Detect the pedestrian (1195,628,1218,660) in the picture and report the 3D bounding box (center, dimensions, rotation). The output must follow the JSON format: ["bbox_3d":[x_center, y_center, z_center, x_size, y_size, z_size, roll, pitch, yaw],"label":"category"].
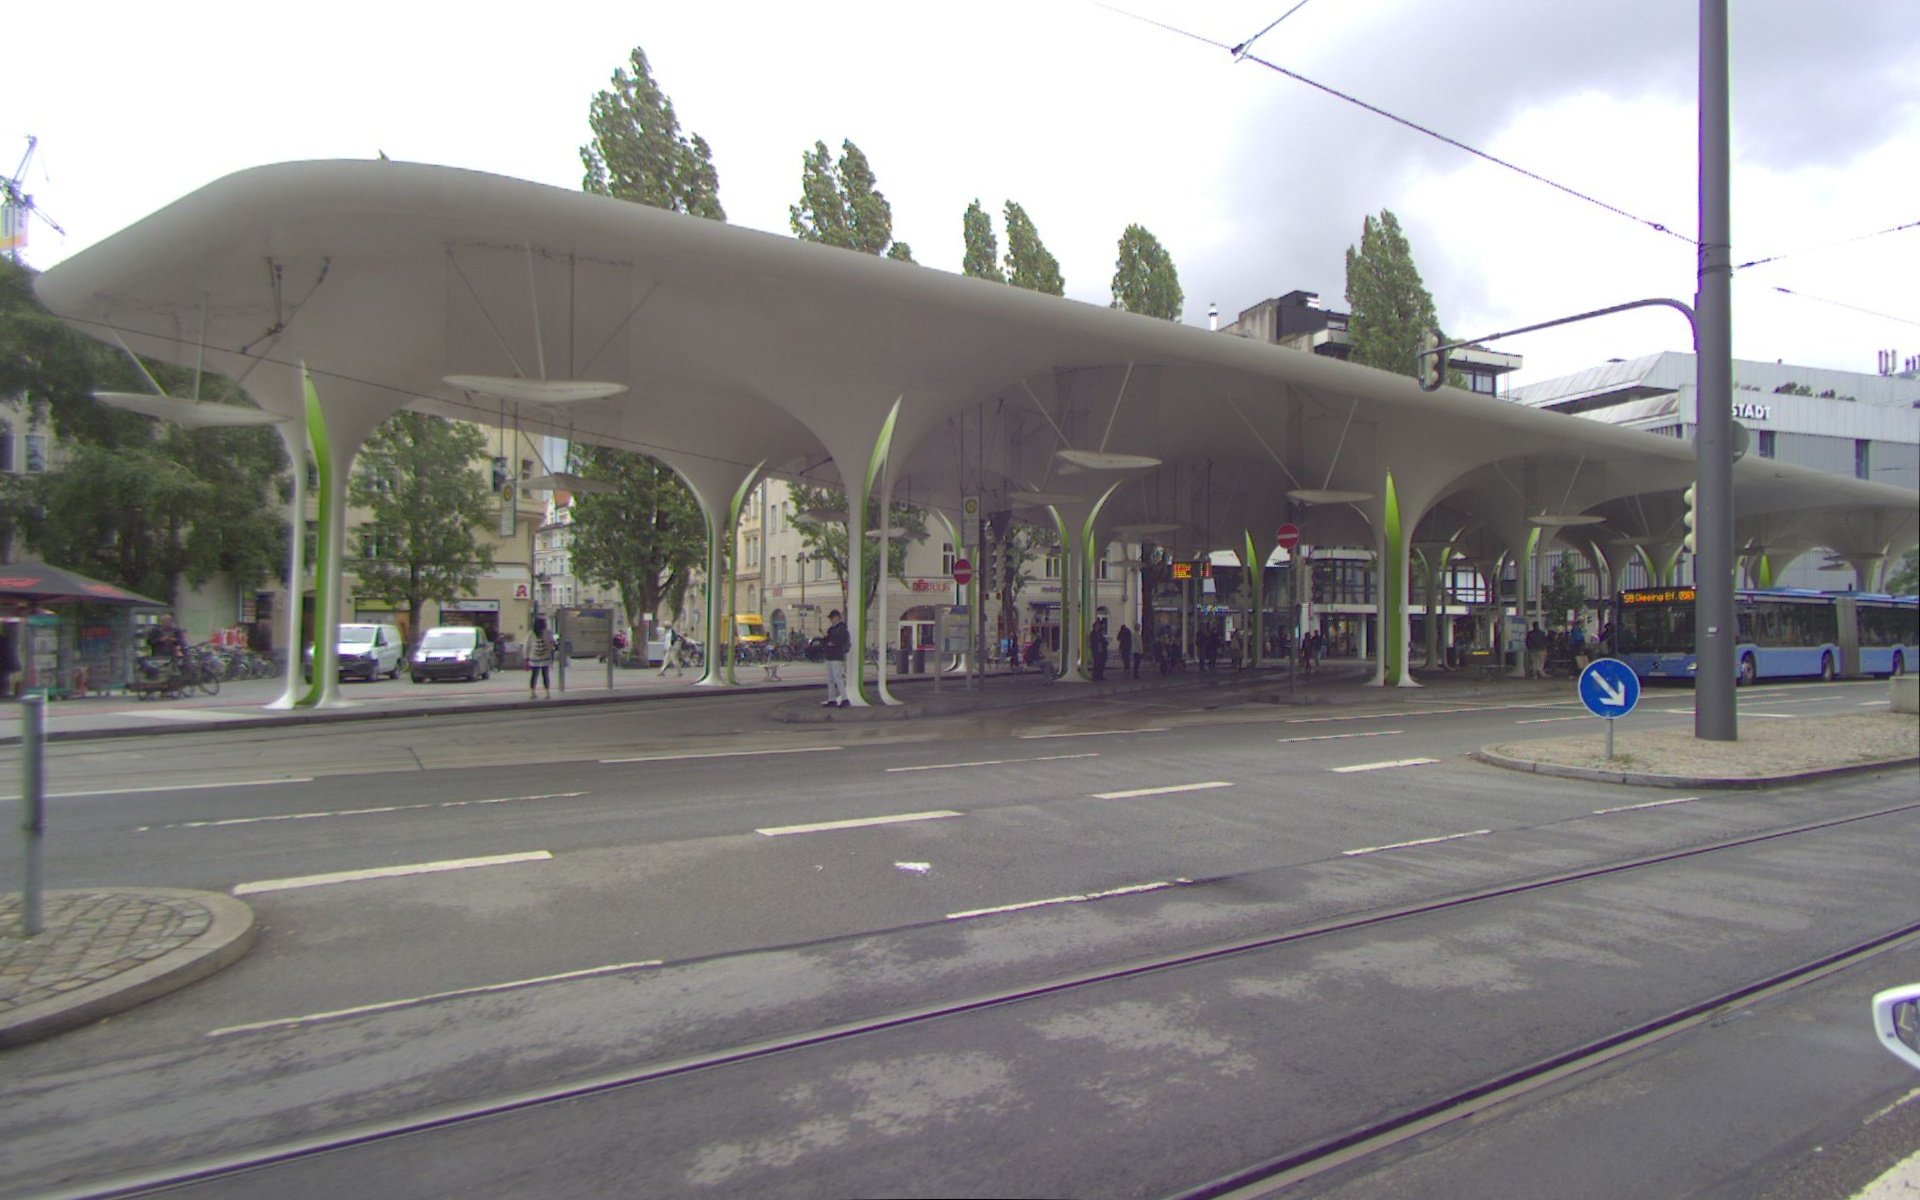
[{"bbox_3d":[14.083,2.506,57.437,0.981,1.796,0.931,1,-1,-10],"label":"pedestrian"}]

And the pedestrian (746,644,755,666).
[{"bbox_3d":[-10.467,2.740,50.251,0.397,1.097,0.467,1,-1,-16],"label":"pedestrian"}]

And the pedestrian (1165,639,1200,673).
[{"bbox_3d":[8.197,2.051,36.971,0.867,1.170,0.908,1,1,-29],"label":"pedestrian"}]

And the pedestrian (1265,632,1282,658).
[{"bbox_3d":[20.684,2.960,66.273,0.762,1.683,0.779,1,-1,-20],"label":"pedestrian"}]

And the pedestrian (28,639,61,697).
[{"bbox_3d":[-20.620,1.519,22.635,0.425,1.286,0.409,1,-1,-25],"label":"pedestrian"}]

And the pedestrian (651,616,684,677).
[{"bbox_3d":[-10.028,1.581,34.506,1.010,2.040,1.002,1,-1,-14],"label":"pedestrian"}]

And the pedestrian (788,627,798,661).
[{"bbox_3d":[-10.165,2.656,61.193,0.562,2.040,0.669,1,-1,-7],"label":"pedestrian"}]

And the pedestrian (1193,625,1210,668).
[{"bbox_3d":[9.762,1.873,40.585,0.635,1.719,0.700,0,-1,11],"label":"pedestrian"}]

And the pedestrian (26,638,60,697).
[{"bbox_3d":[-20.257,1.480,22.200,0.425,1.286,0.409,1,-1,-25],"label":"pedestrian"}]

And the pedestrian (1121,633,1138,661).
[{"bbox_3d":[10.376,2.882,61.477,0.742,1.699,0.790,1,-2,-20],"label":"pedestrian"}]

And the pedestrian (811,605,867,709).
[{"bbox_3d":[-2.231,1.035,18.558,0.654,1.863,0.809,0,-1,31],"label":"pedestrian"}]

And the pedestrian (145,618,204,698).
[{"bbox_3d":[-18.124,1.316,23.200,0.947,1.785,1.023,1,-1,-33],"label":"pedestrian"}]

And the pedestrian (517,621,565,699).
[{"bbox_3d":[-8.970,1.262,21.524,0.825,1.631,0.745,1,-1,-15],"label":"pedestrian"}]

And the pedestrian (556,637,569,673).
[{"bbox_3d":[-18.803,2.597,47.568,0.452,1.647,0.577,1,1,-32],"label":"pedestrian"}]

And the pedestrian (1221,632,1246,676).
[{"bbox_3d":[10.520,2.069,38.658,0.690,1.639,0.644,1,-2,-26],"label":"pedestrian"}]

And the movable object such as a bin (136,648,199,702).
[{"bbox_3d":[-17.486,1.637,22.206,0.947,1.098,1.325,1,-2,-33],"label":"movable object such as a bin"}]

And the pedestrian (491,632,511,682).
[{"bbox_3d":[-18.943,2.340,41.453,0.683,2.040,0.695,1,-1,-24],"label":"pedestrian"}]

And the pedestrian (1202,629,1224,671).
[{"bbox_3d":[9.566,1.875,37.964,0.652,1.585,0.640,-1,-2,35],"label":"pedestrian"}]

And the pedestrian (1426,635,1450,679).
[{"bbox_3d":[22.533,2.676,47.387,0.888,2.040,0.673,0,-1,10],"label":"pedestrian"}]

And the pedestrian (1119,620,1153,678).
[{"bbox_3d":[5.415,1.506,30.841,0.799,1.750,0.668,-1,-2,44],"label":"pedestrian"}]

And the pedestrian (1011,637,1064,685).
[{"bbox_3d":[2.063,1.608,26.731,1.248,1.246,0.811,1,-1,-11],"label":"pedestrian"}]

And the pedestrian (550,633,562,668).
[{"bbox_3d":[-19.401,2.419,48.221,0.453,1.612,0.519,1,1,-32],"label":"pedestrian"}]

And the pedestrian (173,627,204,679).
[{"bbox_3d":[-24.053,1.638,31.325,0.629,1.603,0.631,1,-1,-30],"label":"pedestrian"}]

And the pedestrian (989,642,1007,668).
[{"bbox_3d":[1.604,2.320,42.585,0.573,1.098,0.513,1,-2,-37],"label":"pedestrian"}]

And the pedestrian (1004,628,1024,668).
[{"bbox_3d":[2.292,2.038,42.763,0.635,1.669,0.596,1,-2,-37],"label":"pedestrian"}]

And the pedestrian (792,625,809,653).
[{"bbox_3d":[-10.273,2.517,64.582,0.791,1.807,0.951,1,-1,-31],"label":"pedestrian"}]

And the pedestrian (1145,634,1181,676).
[{"bbox_3d":[6.935,1.867,34.355,0.829,1.388,0.961,1,-1,-23],"label":"pedestrian"}]

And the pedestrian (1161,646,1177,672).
[{"bbox_3d":[8.232,2.316,39.529,0.450,1.002,0.513,-1,-2,34],"label":"pedestrian"}]

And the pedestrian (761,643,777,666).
[{"bbox_3d":[-9.755,2.759,51.272,0.606,1.097,1.835,1,-1,-16],"label":"pedestrian"}]

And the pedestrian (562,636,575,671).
[{"bbox_3d":[-18.871,2.589,48.447,0.452,1.647,0.577,1,1,-32],"label":"pedestrian"}]

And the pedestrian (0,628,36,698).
[{"bbox_3d":[-22.330,1.459,23.490,0.784,1.621,0.738,1,-1,-15],"label":"pedestrian"}]

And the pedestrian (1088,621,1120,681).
[{"bbox_3d":[4.674,1.647,32.611,0.701,1.897,0.876,0,-1,33],"label":"pedestrian"}]

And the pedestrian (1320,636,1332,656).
[{"bbox_3d":[24.764,3.091,67.933,0.567,1.351,0.512,1,-1,-11],"label":"pedestrian"}]

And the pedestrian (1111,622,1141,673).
[{"bbox_3d":[5.895,1.676,35.693,0.772,1.812,0.760,1,-1,-27],"label":"pedestrian"}]

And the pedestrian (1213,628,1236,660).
[{"bbox_3d":[15.182,2.533,57.650,0.981,1.796,0.931,1,-1,-10],"label":"pedestrian"}]

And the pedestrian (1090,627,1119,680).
[{"bbox_3d":[4.304,1.583,29.902,0.586,1.565,0.634,-1,-2,43],"label":"pedestrian"}]

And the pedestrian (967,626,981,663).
[{"bbox_3d":[0.726,2.248,50.578,0.546,1.838,0.556,1,-1,-18],"label":"pedestrian"}]
